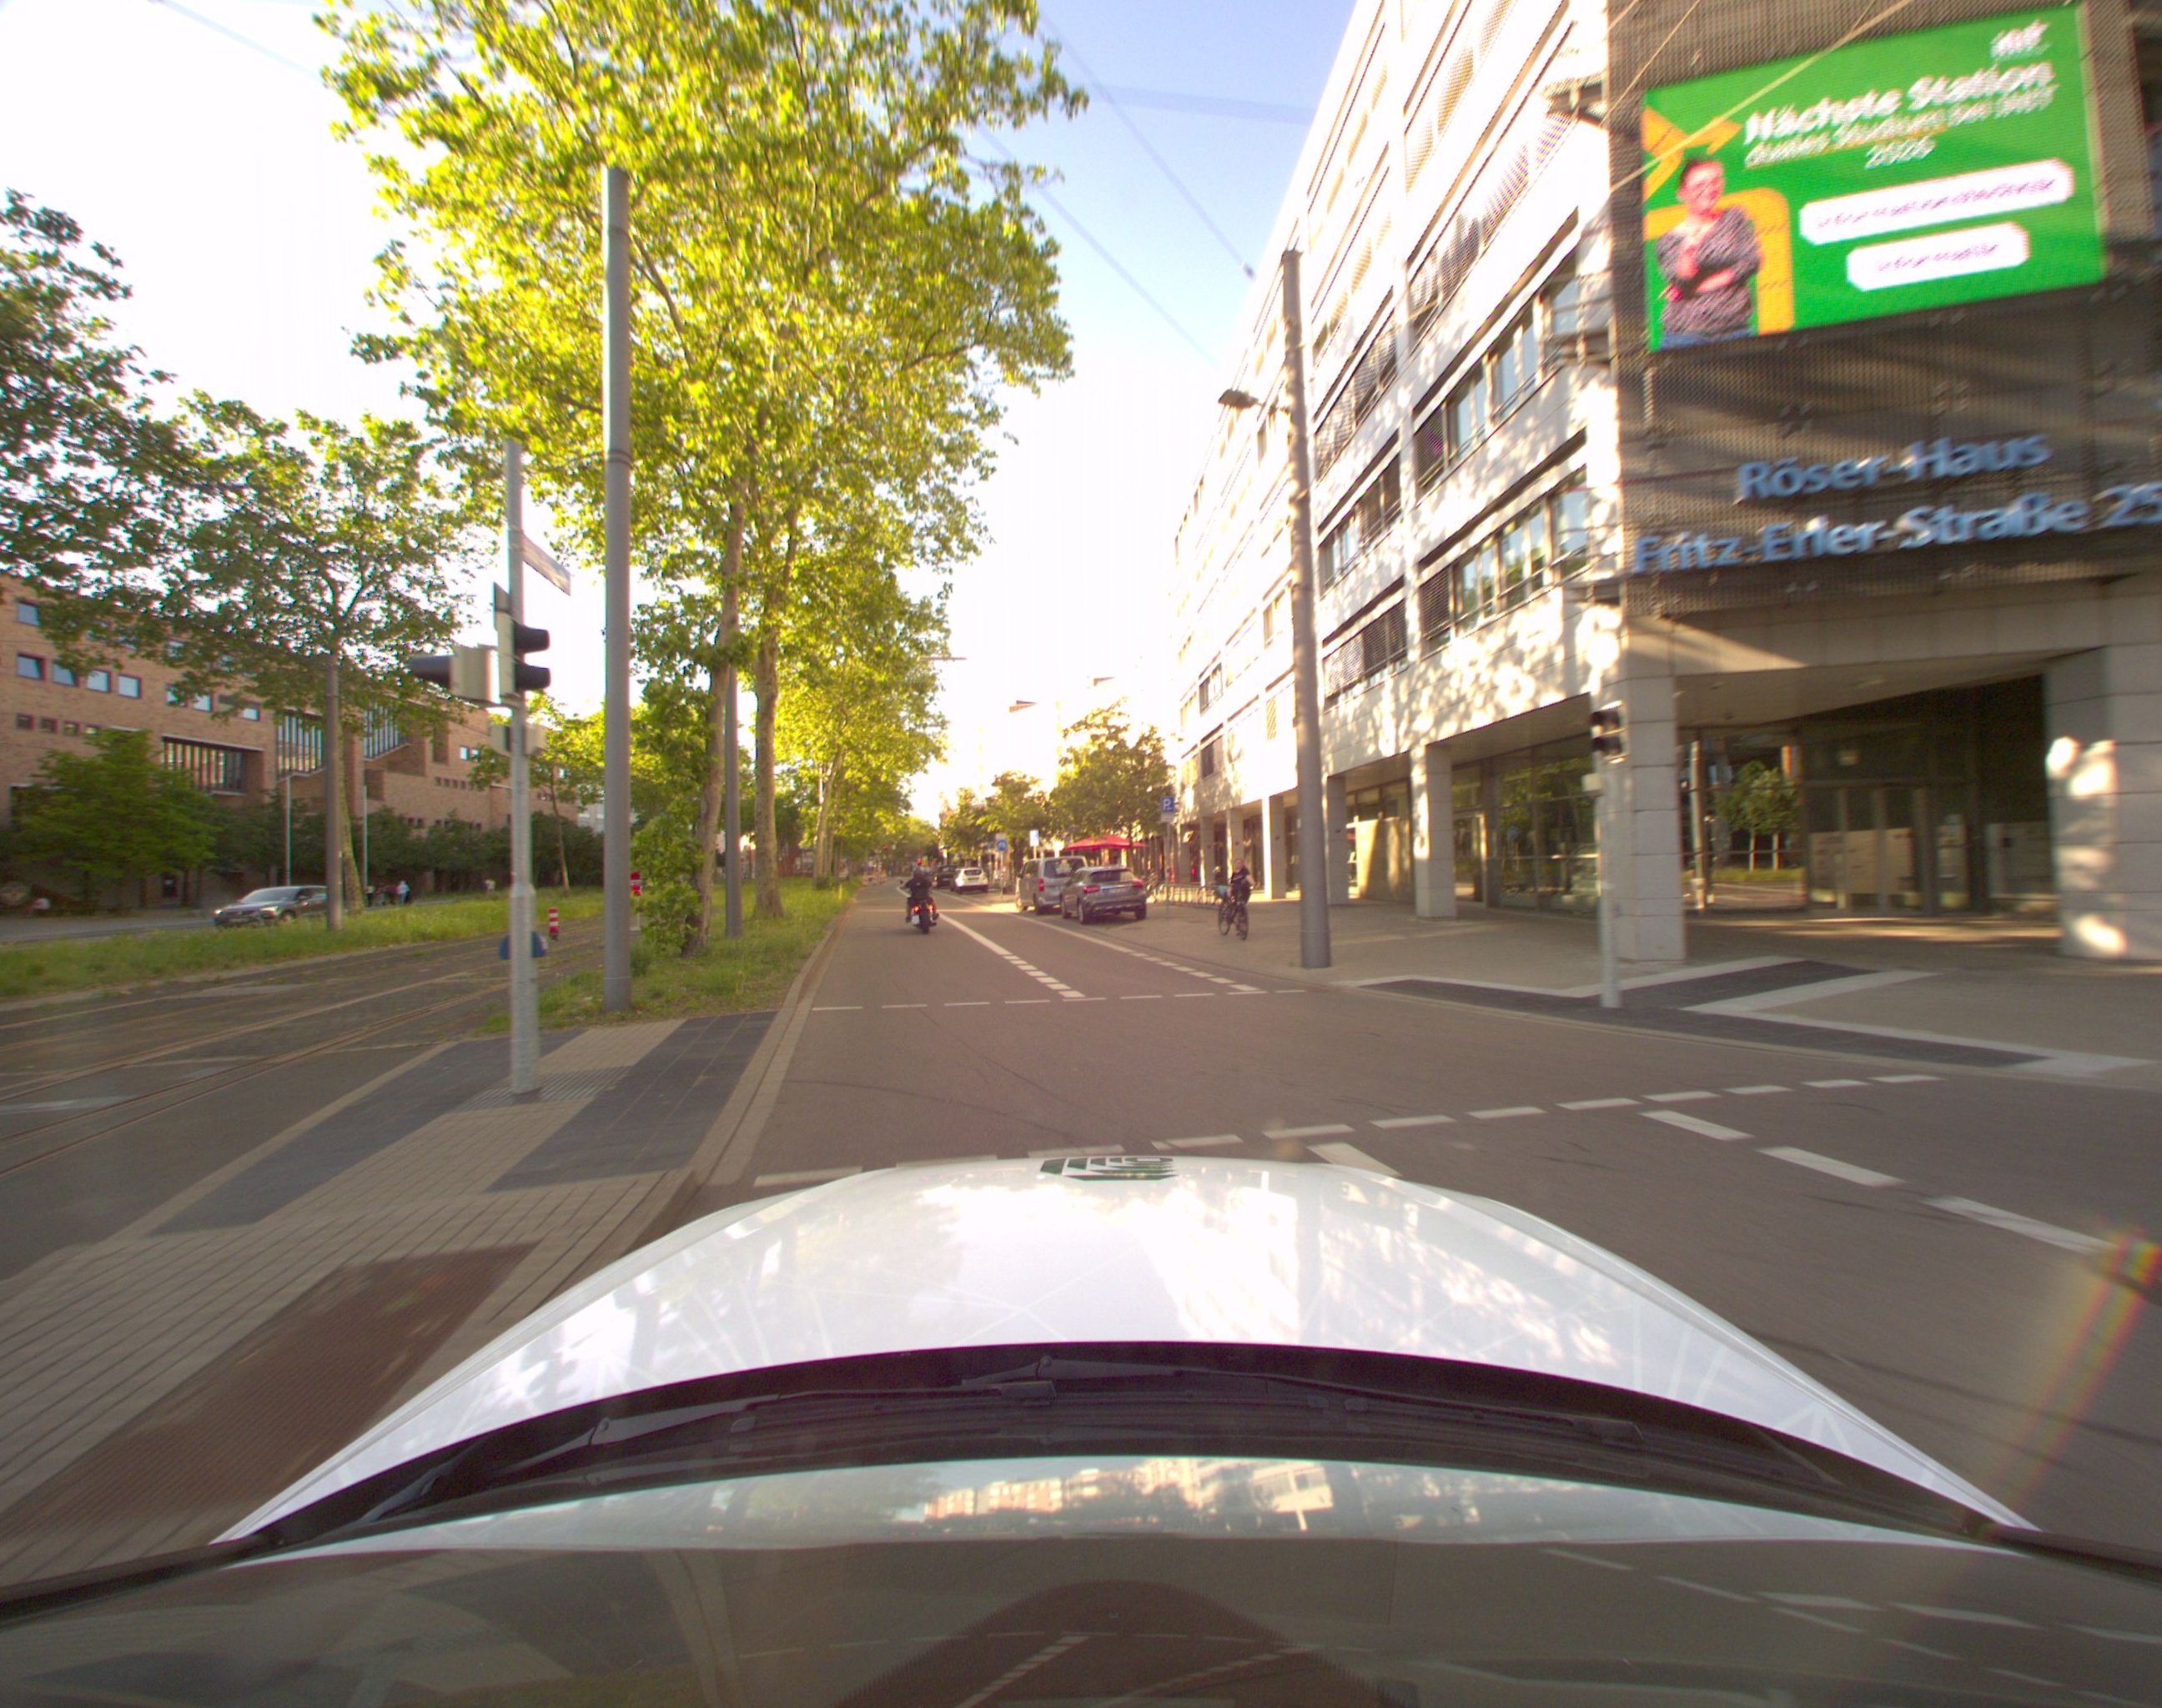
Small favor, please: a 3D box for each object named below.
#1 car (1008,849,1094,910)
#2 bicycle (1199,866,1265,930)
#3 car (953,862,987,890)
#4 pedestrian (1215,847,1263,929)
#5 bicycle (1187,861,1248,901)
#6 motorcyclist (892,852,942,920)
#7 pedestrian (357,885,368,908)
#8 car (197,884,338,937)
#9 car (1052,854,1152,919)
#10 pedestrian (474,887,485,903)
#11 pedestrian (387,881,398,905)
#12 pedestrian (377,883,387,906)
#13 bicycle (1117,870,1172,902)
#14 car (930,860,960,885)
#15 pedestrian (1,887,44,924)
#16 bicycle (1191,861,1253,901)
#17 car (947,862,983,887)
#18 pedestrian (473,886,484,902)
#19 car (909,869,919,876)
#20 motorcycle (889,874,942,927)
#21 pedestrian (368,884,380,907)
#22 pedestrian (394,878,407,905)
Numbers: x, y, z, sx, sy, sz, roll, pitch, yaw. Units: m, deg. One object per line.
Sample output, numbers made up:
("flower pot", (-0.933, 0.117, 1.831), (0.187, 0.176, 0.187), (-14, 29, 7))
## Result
("car", (-1.156, 0.879, 28.712), (1.926, 1.843, 4.899), (-3, -1, -15))
("bicycle", (3.066, 0.869, 16.728), (0.611, 1.163, 1.840), (-4, 1, -12))
("car", (-7.069, 1.406, 51.642), (1.860, 1.638, 3.852), (-2, -1, -12))
("pedestrian", (3.265, 0.687, 16.899), (0.605, 1.611, 0.834), (-4, 1, -13))
("bicycle", (4.335, 0.851, 25.948), (1.832, 1.151, 0.468), (-2, -1, -10))
("motorcyclist", (-3.942, 0.738, 19.478), (1.025, 1.552, 1.279), (-1, 0, -17))
("pedestrian", (-45.143, 2.670, 51.171), (0.364, 1.420, 0.331), (-1, -1, -7))
("car", (-29.259, 1.978, 29.506), (1.827, 1.562, 4.315), (-1, 0, -18))
("car", (0.481, 0.880, 23.348), (1.860, 1.573, 4.397), (-4, -1, -12))
("pedestrian", (-48.202, 3.288, 65.234), (0.502, 1.291, 0.520), (-1, -1, -10))
("pedestrian", (-44.731, 2.531, 52.893), (0.365, 1.523, 0.422), (-1, -1, -7))
("pedestrian", (-45.209, 2.597, 52.659), (0.318, 1.457, 0.341), (-1, -1, -8))
("bicycle", (2.343, 1.162, 29.919), (1.872, 1.101, 0.736), (-1, -1, -18))
("car", (-11.467, 1.565, 68.310), (2.034, 1.977, 4.391), (-2, -1, -15))
("pedestrian", (-54.744, 2.659, 42.133), (0.975, 1.882, 0.879), (-1, -1, -5))
("bicycle", (4.411, 0.851, 25.478), (1.832, 1.151, 0.468), (-2, -1, -10))
("car", (-8.228, 1.418, 57.424), (1.991, 1.629, 4.063), (-2, -1, -15))
("pedestrian", (-49.284, 3.283, 66.632), (0.502, 1.291, 0.520), (-1, -1, -10))
("car", (-40.200, 4.459, 195.850), (1.992, 1.706, 3.988), (-1, -1, -8))
("motorcycle", (-4.032, 1.082, 19.677), (1.008, 1.125, 2.309), (-1, 0, -17))
("pedestrian", (-44.600, 2.592, 51.388), (0.390, 1.416, 0.457), (-1, -1, -8))
("pedestrian", (-44.727, 2.467, 53.520), (0.436, 1.704, 0.479), (-1, -1, -7))
